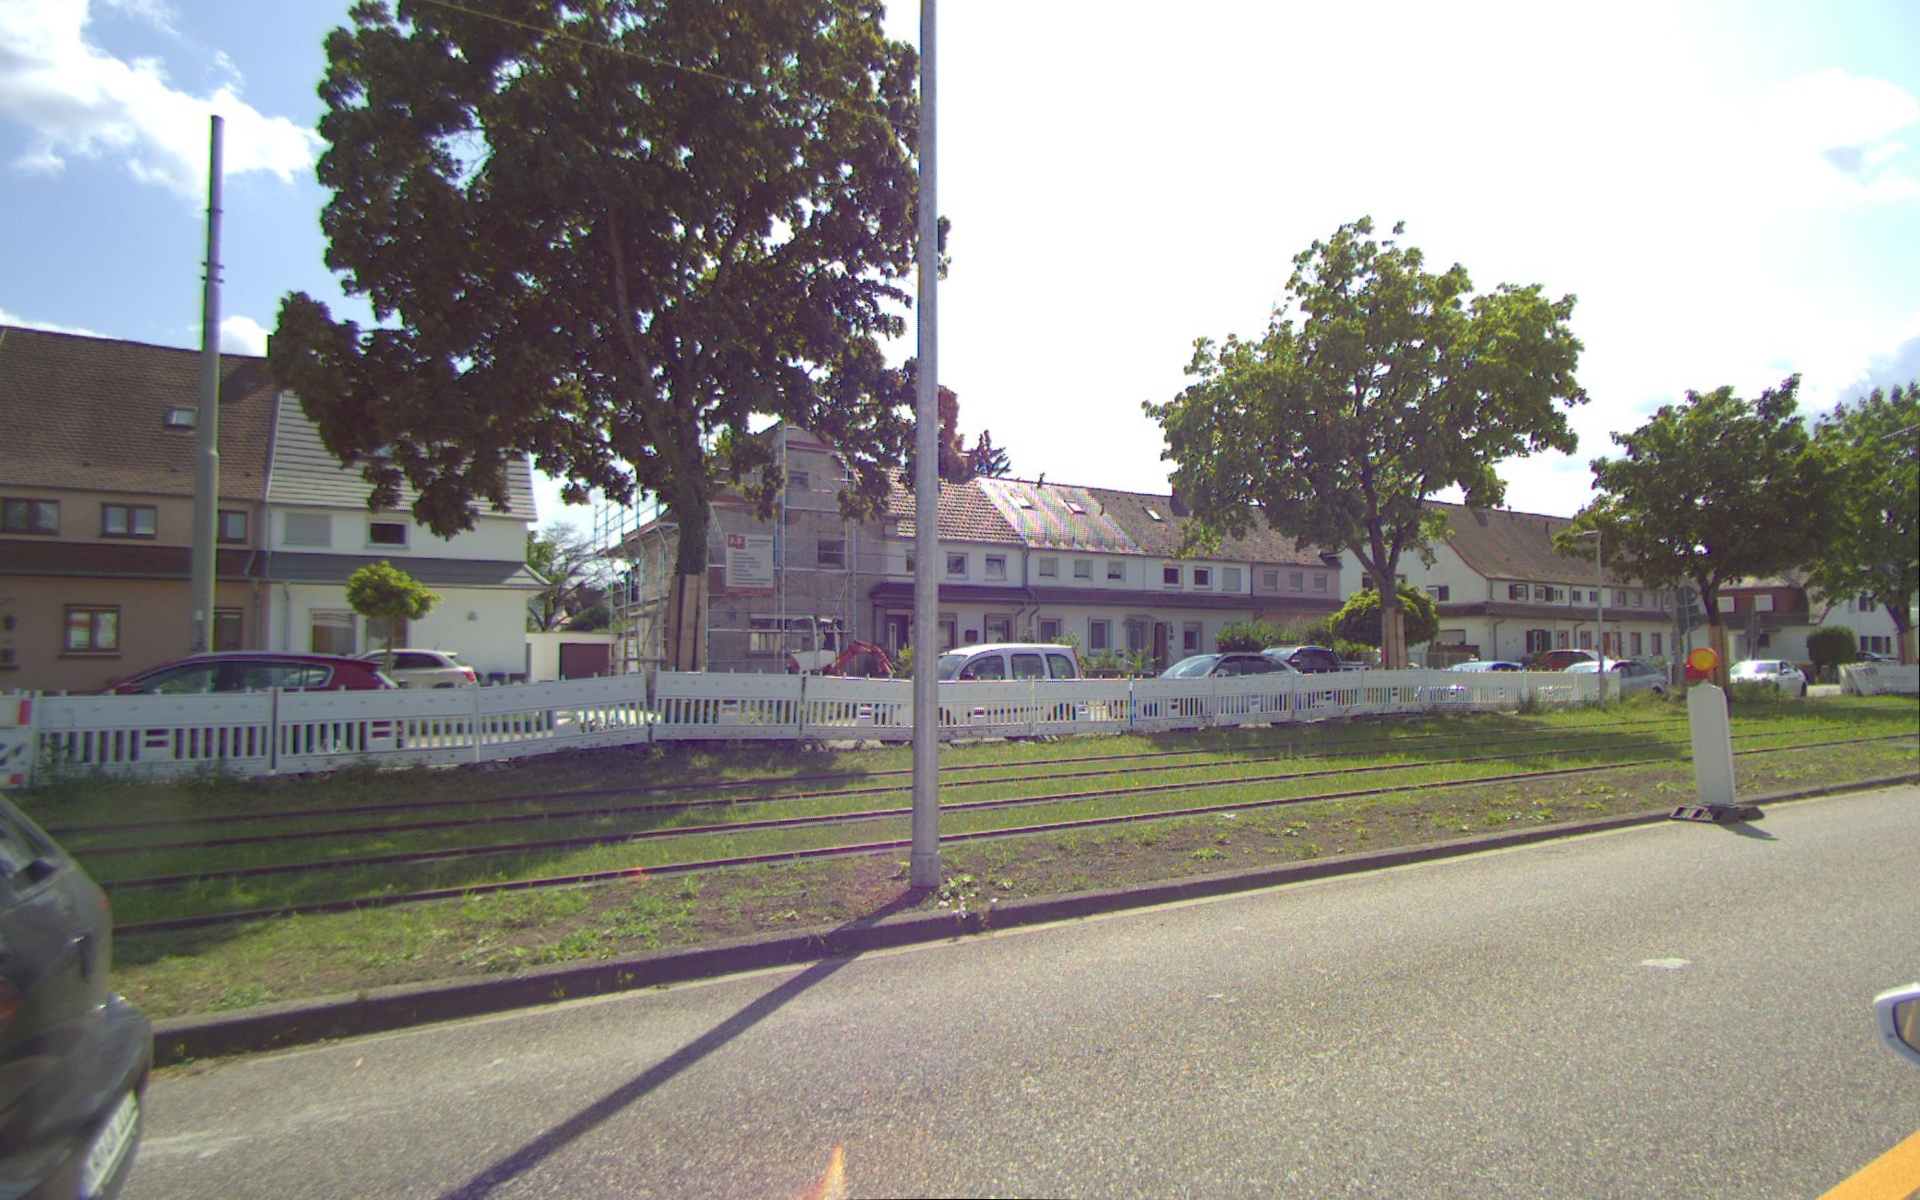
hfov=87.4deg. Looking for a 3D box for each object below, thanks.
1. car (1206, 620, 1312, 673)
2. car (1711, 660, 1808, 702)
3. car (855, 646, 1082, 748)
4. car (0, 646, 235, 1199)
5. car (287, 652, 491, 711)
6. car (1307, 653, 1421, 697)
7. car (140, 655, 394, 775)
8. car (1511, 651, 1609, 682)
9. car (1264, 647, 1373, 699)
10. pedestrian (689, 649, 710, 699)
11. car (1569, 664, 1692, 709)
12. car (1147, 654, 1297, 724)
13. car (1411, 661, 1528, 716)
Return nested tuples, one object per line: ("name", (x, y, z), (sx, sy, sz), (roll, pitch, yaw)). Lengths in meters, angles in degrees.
("car", (12.222, 1.907, 41.032), (3.954, 2.040, 1.984), (3, -2, -31))
("car", (27.987, 2.803, 35.135), (4.211, 1.394, 1.530), (2, -5, -36))
("car", (0.190, 1.726, 18.217), (3.854, 1.672, 1.615), (3, -5, -30))
("car", (-3.317, 0.778, 1.159), (3.816, 1.430, 1.685), (3, -6, -31))
("car", (-13.548, 1.945, 24.027), (4.072, 1.291, 1.527), (3, -5, -30))
("car", (17.769, 3.271, 44.302), (1.785, 1.708, 4.370), (3, -2, -39))
("car", (-8.503, 1.389, 12.518), (2.417, 1.365, 1.069), (2, -5, -27))
("car", (30.472, 3.377, 51.109), (1.706, 1.529, 3.967), (2, -4, -31))
("car", (11.027, 2.222, 30.882), (3.272, 1.514, 1.377), (2, -4, -31))
("pedestrian", (-7.399, 2.104, 28.534), (0.465, 1.394, 0.420), (2, -2, -30))
("car", (19.426, 2.476, 29.070), (3.704, 1.192, 1.496), (2, -4, -30))
("car", (5.632, 1.894, 21.577), (3.078, 1.395, 1.344), (3, -5, -30))
("car", (13.427, 2.283, 26.418), (3.136, 1.342, 1.333), (2, -4, -33))
